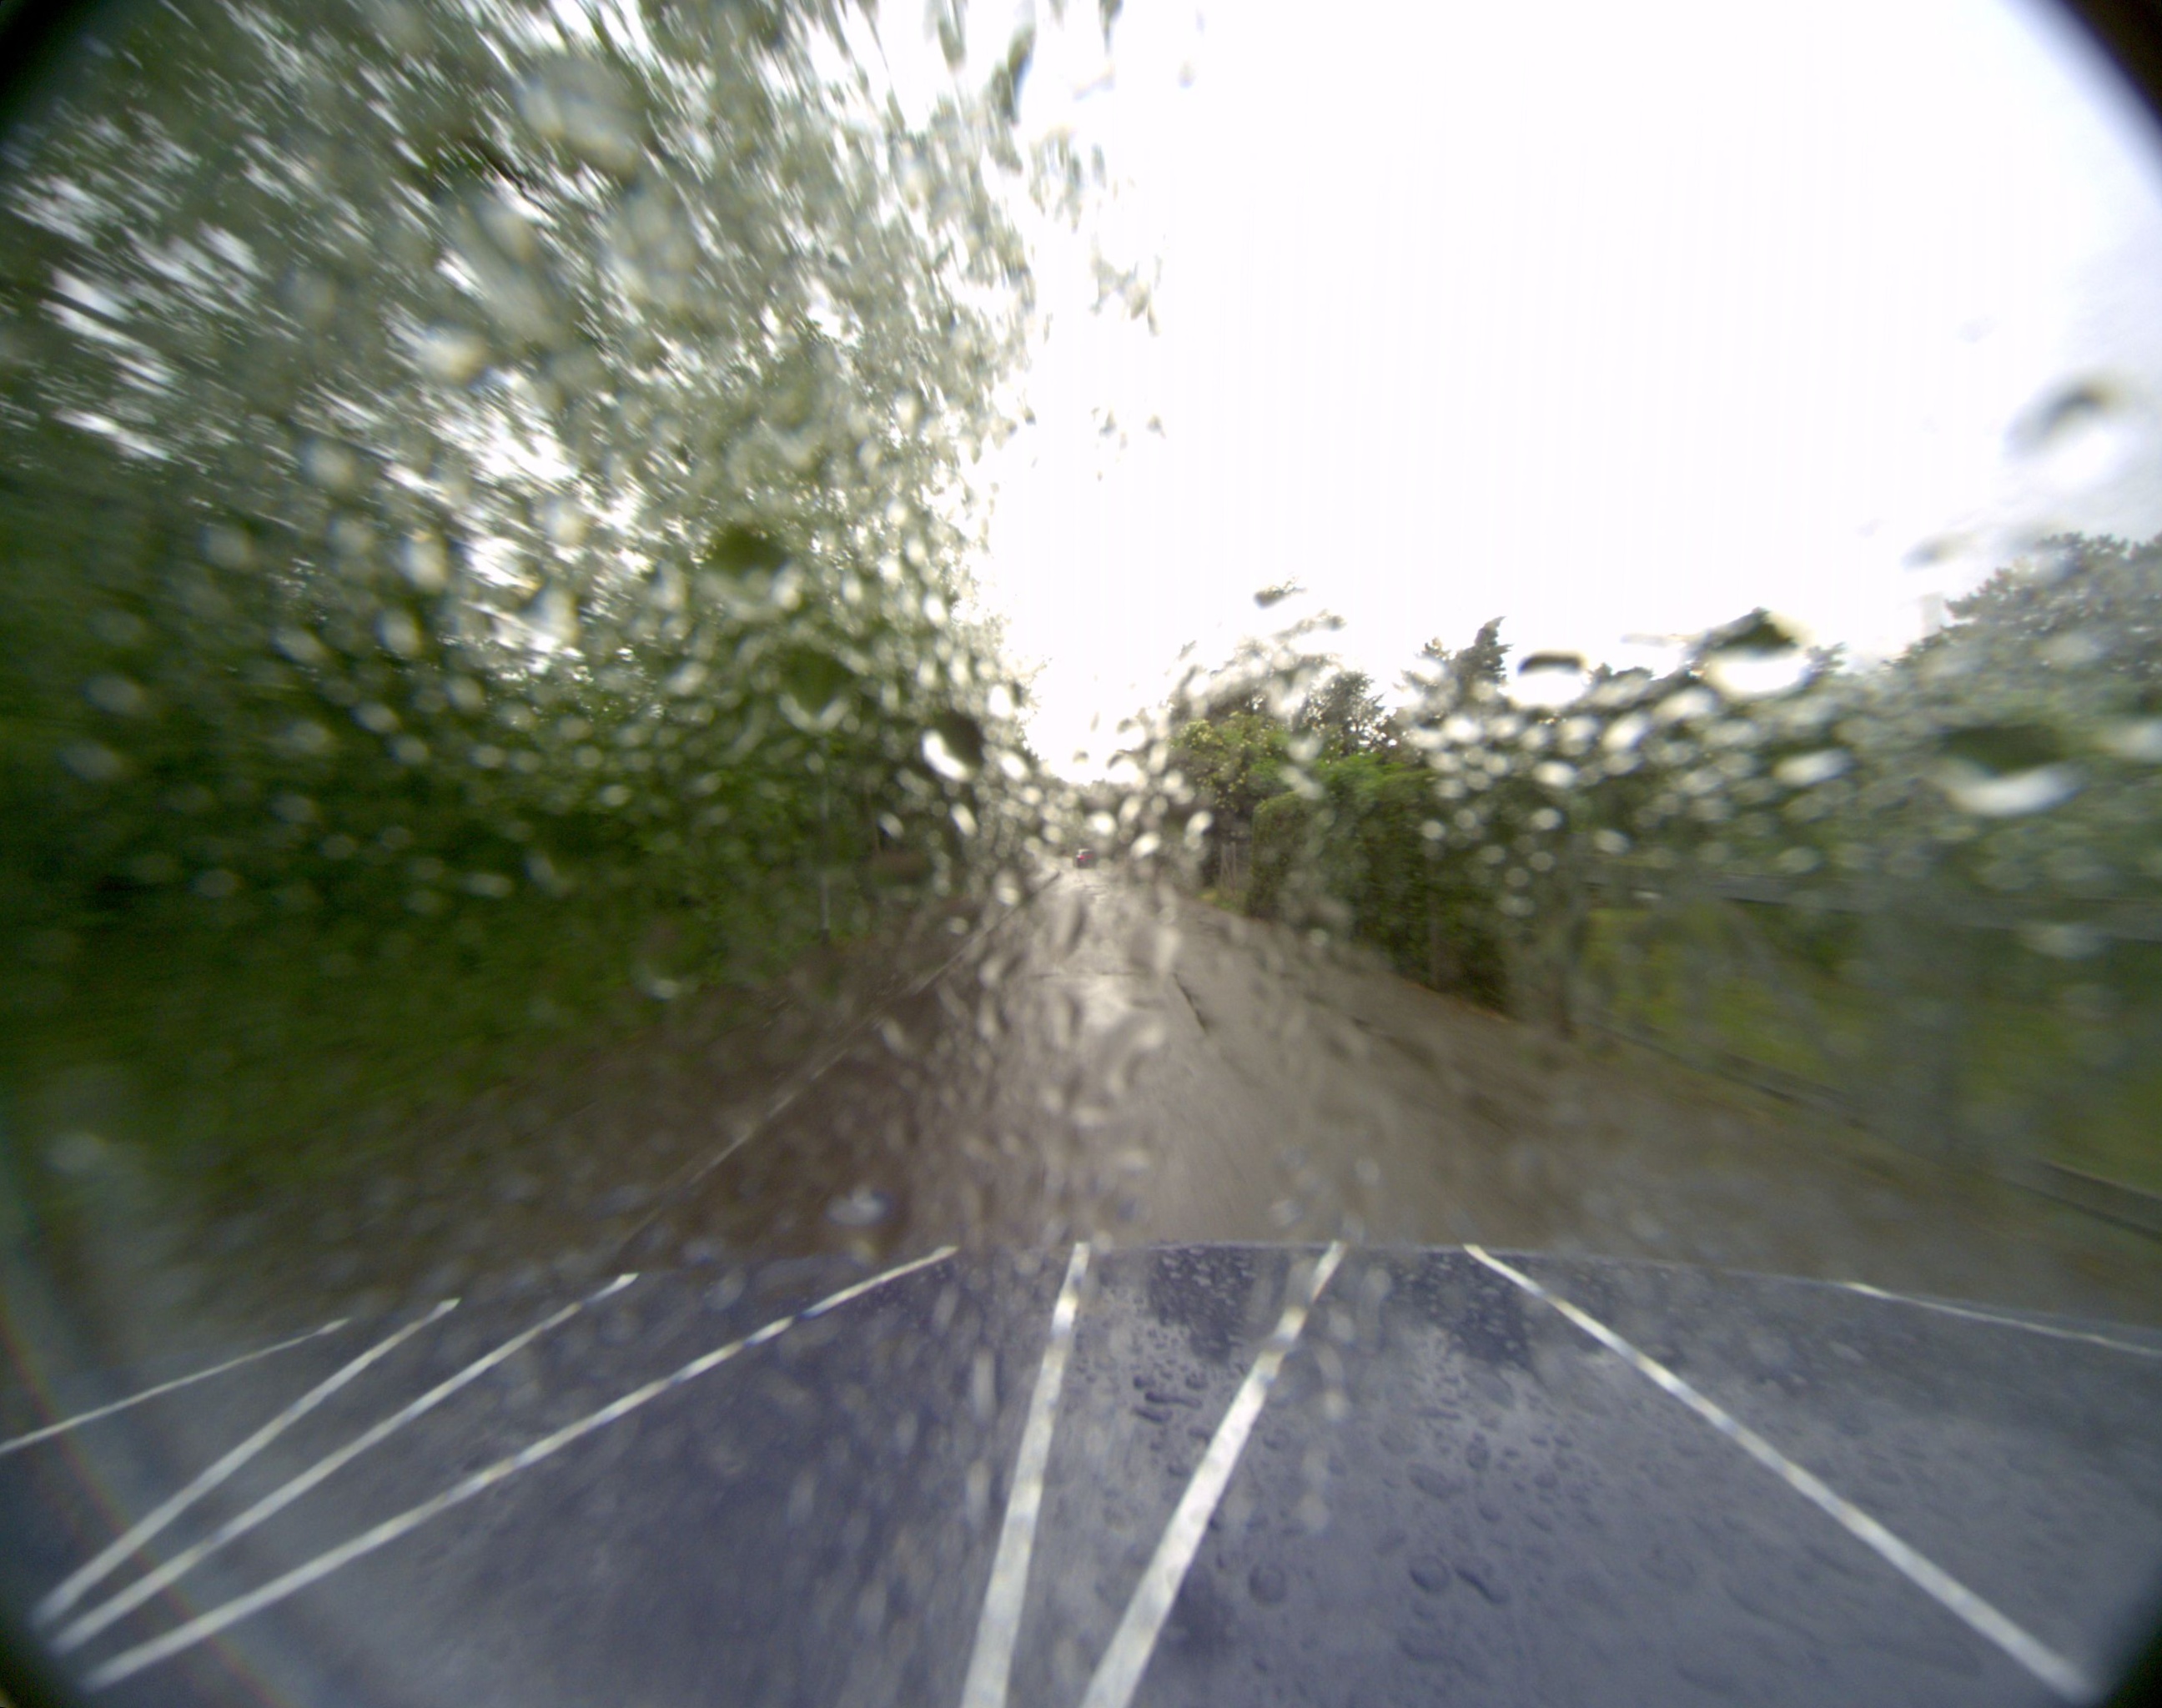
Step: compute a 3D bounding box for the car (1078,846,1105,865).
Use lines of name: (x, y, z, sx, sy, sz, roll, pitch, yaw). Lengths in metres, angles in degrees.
car: (0.853, 0.124, 64.375, 1.894, 1.514, 4.419, -1, 1, -4)
